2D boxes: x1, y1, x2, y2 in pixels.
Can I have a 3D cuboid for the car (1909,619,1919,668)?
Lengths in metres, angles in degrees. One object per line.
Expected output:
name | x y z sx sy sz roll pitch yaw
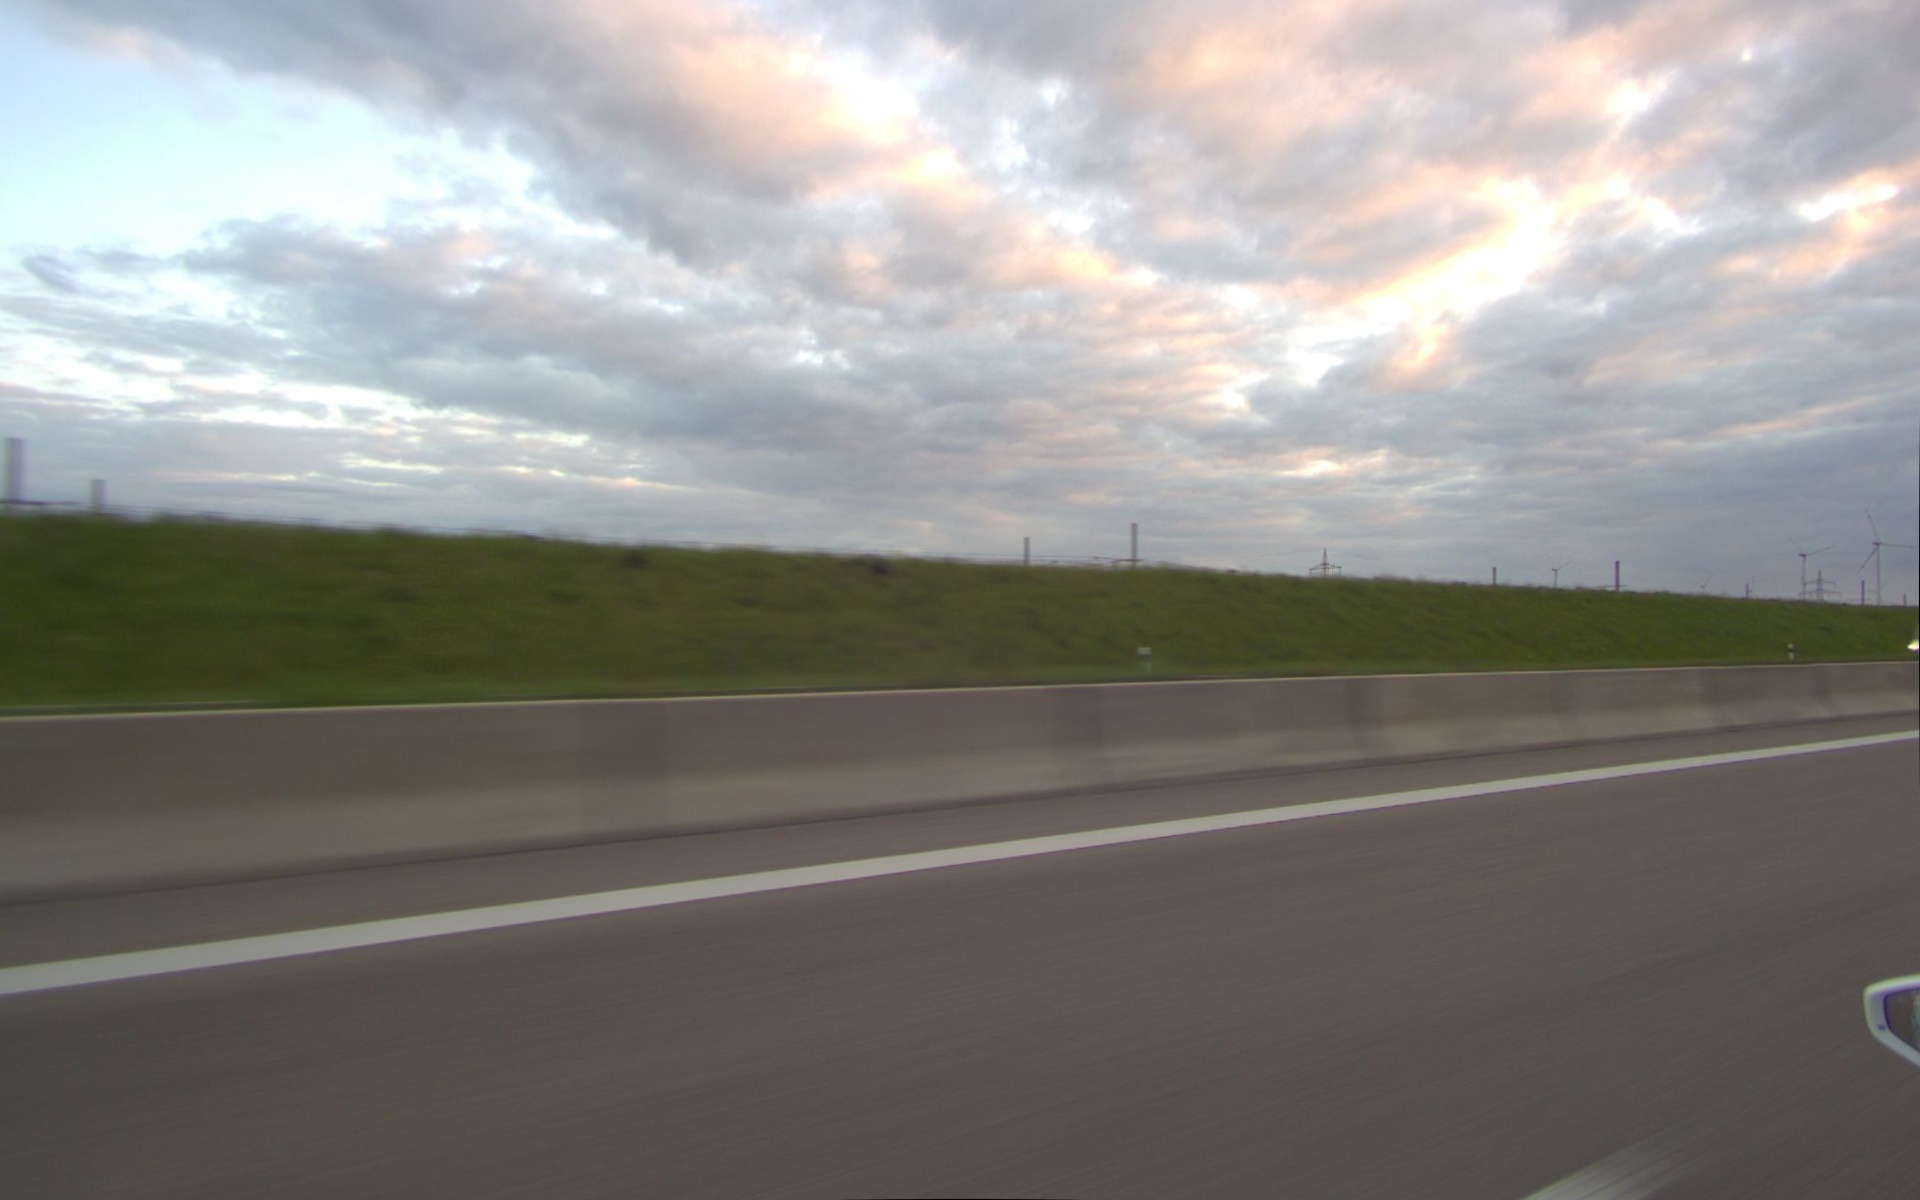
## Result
car | 54.443 2.393 54.859 7.294 2.580 1.983 2 -2 -31
